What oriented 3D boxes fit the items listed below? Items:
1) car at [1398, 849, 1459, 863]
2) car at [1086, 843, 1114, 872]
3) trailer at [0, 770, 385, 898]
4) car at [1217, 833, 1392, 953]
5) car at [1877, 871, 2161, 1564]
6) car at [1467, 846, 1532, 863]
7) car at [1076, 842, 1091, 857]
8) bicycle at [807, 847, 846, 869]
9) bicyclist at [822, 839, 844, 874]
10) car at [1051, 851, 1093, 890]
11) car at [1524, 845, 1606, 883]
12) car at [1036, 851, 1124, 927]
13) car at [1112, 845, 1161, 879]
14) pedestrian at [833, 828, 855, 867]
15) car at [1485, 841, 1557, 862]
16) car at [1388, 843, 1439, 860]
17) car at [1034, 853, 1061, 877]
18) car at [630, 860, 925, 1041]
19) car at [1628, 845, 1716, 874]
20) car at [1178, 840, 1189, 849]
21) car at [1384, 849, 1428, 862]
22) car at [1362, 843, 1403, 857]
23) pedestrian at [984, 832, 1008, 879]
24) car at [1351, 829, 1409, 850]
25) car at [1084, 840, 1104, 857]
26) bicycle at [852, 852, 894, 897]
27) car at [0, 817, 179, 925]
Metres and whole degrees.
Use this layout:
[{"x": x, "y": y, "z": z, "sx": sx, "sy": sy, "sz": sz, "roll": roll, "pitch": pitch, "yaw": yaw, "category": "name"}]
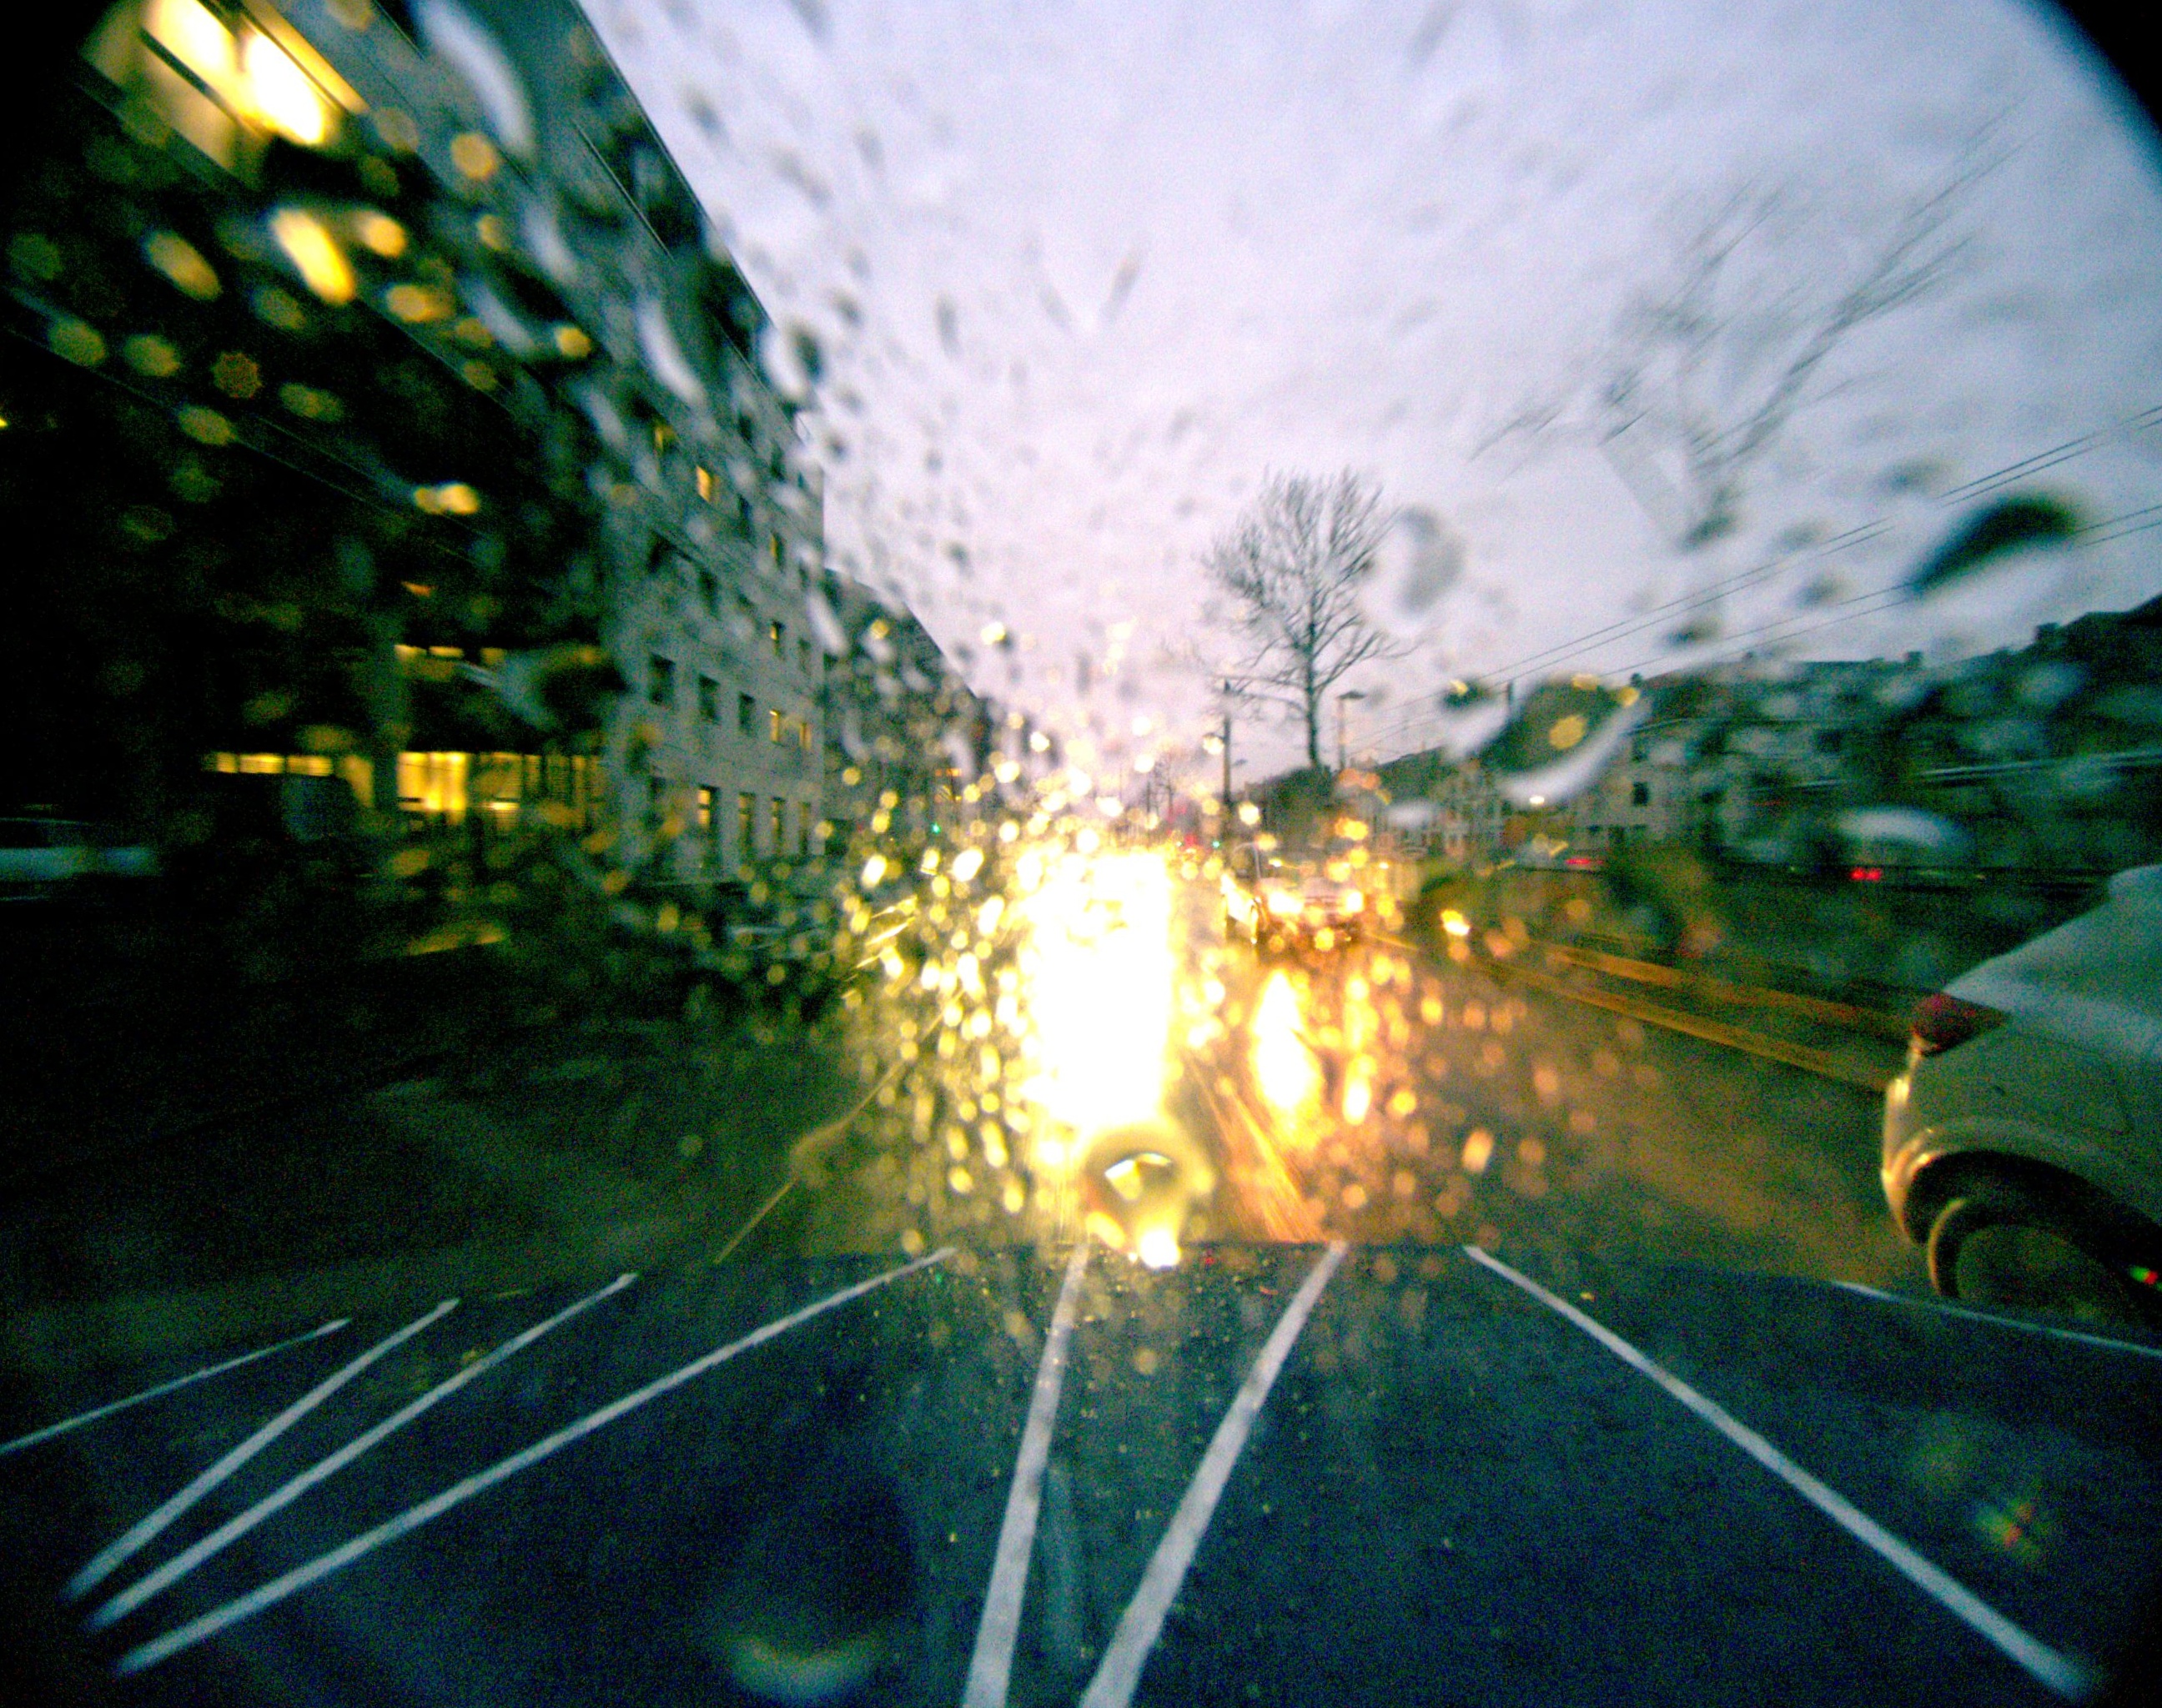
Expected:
[{"x": 28.679, "y": 0.159, "z": 62.783, "sx": 4.393, "sy": 1.125, "sz": 1.250, "roll": 0, "pitch": 3, "yaw": 34, "category": "car"}, {"x": 1.261, "y": 0.185, "z": 49.933, "sx": 1.729, "sy": 1.730, "sz": 4.053, "roll": -2, "pitch": 2, "yaw": 1, "category": "car"}, {"x": -19.352, "y": -0.394, "z": 16.463, "sx": 6.275, "sy": 2.566, "sz": 2.209, "roll": 0, "pitch": 1, "yaw": -3, "category": "trailer"}, {"x": 3.543, "y": 0.503, "z": 12.841, "sx": 2.020, "sy": 1.668, "sz": 4.000, "roll": -2, "pitch": 2, "yaw": 4, "category": "car"}, {"x": 3.115, "y": 0.830, "z": 0.210, "sx": 1.712, "sy": 1.458, "sz": 4.000, "roll": -2, "pitch": 2, "yaw": 3, "category": "car"}, {"x": 30.426, "y": 0.030, "z": 55.231, "sx": 3.988, "sy": 1.125, "sz": 1.364, "roll": -1, "pitch": 2, "yaw": 36, "category": "car"}, {"x": 0.345, "y": -0.645, "z": 105.756, "sx": 1.998, "sy": 1.784, "sz": 3.809, "roll": -3, "pitch": 2, "yaw": 1, "category": "car"}, {"x": -13.495, "y": 0.220, "z": 40.338, "sx": 1.863, "sy": 1.084, "sz": 0.856, "roll": -1, "pitch": -2, "yaw": 24, "category": "bicycle"}, {"x": -13.163, "y": 0.127, "z": 40.262, "sx": 0.730, "sy": 1.811, "sz": 0.842, "roll": -1, "pitch": -1, "yaw": 23, "category": "bicyclist"}, {"x": -0.352, "y": 0.704, "z": 34.466, "sx": 1.764, "sy": 1.520, "sz": 3.734, "roll": -2, "pitch": 2, "yaw": 1, "category": "car"}, {"x": 22.665, "y": 0.430, "z": 35.750, "sx": 1.526, "sy": 1.630, "sz": 3.748, "roll": -1, "pitch": 1, "yaw": 1, "category": "car"}, {"x": -0.003, "y": 0.712, "z": 17.377, "sx": 1.757, "sy": 1.418, "sz": 3.803, "roll": -1, "pitch": 2, "yaw": 1, "category": "car"}, {"x": 2.593, "y": 0.350, "z": 36.254, "sx": 1.975, "sy": 1.492, "sz": 4.091, "roll": -2, "pitch": 0, "yaw": 0, "category": "car"}, {"x": -10.674, "y": -0.289, "z": 34.256, "sx": 0.739, "sy": 1.726, "sz": 0.702, "roll": -2, "pitch": 2, "yaw": -2, "category": "pedestrian"}, {"x": 28.992, "y": -0.168, "z": 50.135, "sx": 3.989, "sy": 1.249, "sz": 1.446, "roll": -1, "pitch": 2, "yaw": 34, "category": "car"}, {"x": 29.927, "y": -0.194, "z": 68.389, "sx": 4.001, "sy": 1.496, "sz": 1.315, "roll": 0, "pitch": 2, "yaw": 36, "category": "car"}, {"x": -2.597, "y": 0.833, "z": 59.713, "sx": 1.610, "sy": 1.666, "sz": 3.685, "roll": -2, "pitch": 2, "yaw": 4, "category": "car"}, {"x": -3.030, "y": 0.840, "z": 8.601, "sx": 1.600, "sy": 1.432, "sz": 4.228, "roll": 1, "pitch": 1, "yaw": 0, "category": "car"}, {"x": 30.703, "y": 0.243, "z": 39.629, "sx": 1.519, "sy": 1.360, "sz": 3.999, "roll": -2, "pitch": 2, "yaw": 0, "category": "car"}, {"x": 26.842, "y": -2.488, "z": 198.883, "sx": 1.999, "sy": 2.002, "sz": 3.998, "roll": -2, "pitch": 2, "yaw": -2, "category": "car"}, {"x": 28.379, "y": 0.124, "z": 66.380, "sx": 3.305, "sy": 1.125, "sz": 1.316, "roll": 1, "pitch": 1, "yaw": 34, "category": "car"}, {"x": 29.902, "y": -0.381, "z": 75.313, "sx": 3.599, "sy": 1.376, "sz": 1.316, "roll": 0, "pitch": 0, "yaw": 30, "category": "car"}, {"x": -3.339, "y": 0.056, "z": 29.764, "sx": 0.773, "sy": 1.799, "sz": 0.699, "roll": 4, "pitch": 2, "yaw": -3, "category": "pedestrian"}, {"x": 33.794, "y": -1.573, "z": 85.978, "sx": 5.893, "sy": 2.242, "sz": 1.825, "roll": 0, "pitch": 2, "yaw": 34, "category": "car"}, {"x": 1.454, "y": -0.628, "z": 83.582, "sx": 1.998, "sy": 1.775, "sz": 3.696, "roll": -2, "pitch": 2, "yaw": 3, "category": "car"}, {"x": -5.771, "y": 0.547, "z": 21.195, "sx": 0.552, "sy": 1.109, "sz": 2.165, "roll": 1, "pitch": 2, "yaw": 0, "category": "bicycle"}, {"x": -14.537, "y": 0.250, "z": 9.278, "sx": 1.636, "sy": 1.363, "sz": 4.528, "roll": -2, "pitch": 2, "yaw": -2, "category": "car"}]
